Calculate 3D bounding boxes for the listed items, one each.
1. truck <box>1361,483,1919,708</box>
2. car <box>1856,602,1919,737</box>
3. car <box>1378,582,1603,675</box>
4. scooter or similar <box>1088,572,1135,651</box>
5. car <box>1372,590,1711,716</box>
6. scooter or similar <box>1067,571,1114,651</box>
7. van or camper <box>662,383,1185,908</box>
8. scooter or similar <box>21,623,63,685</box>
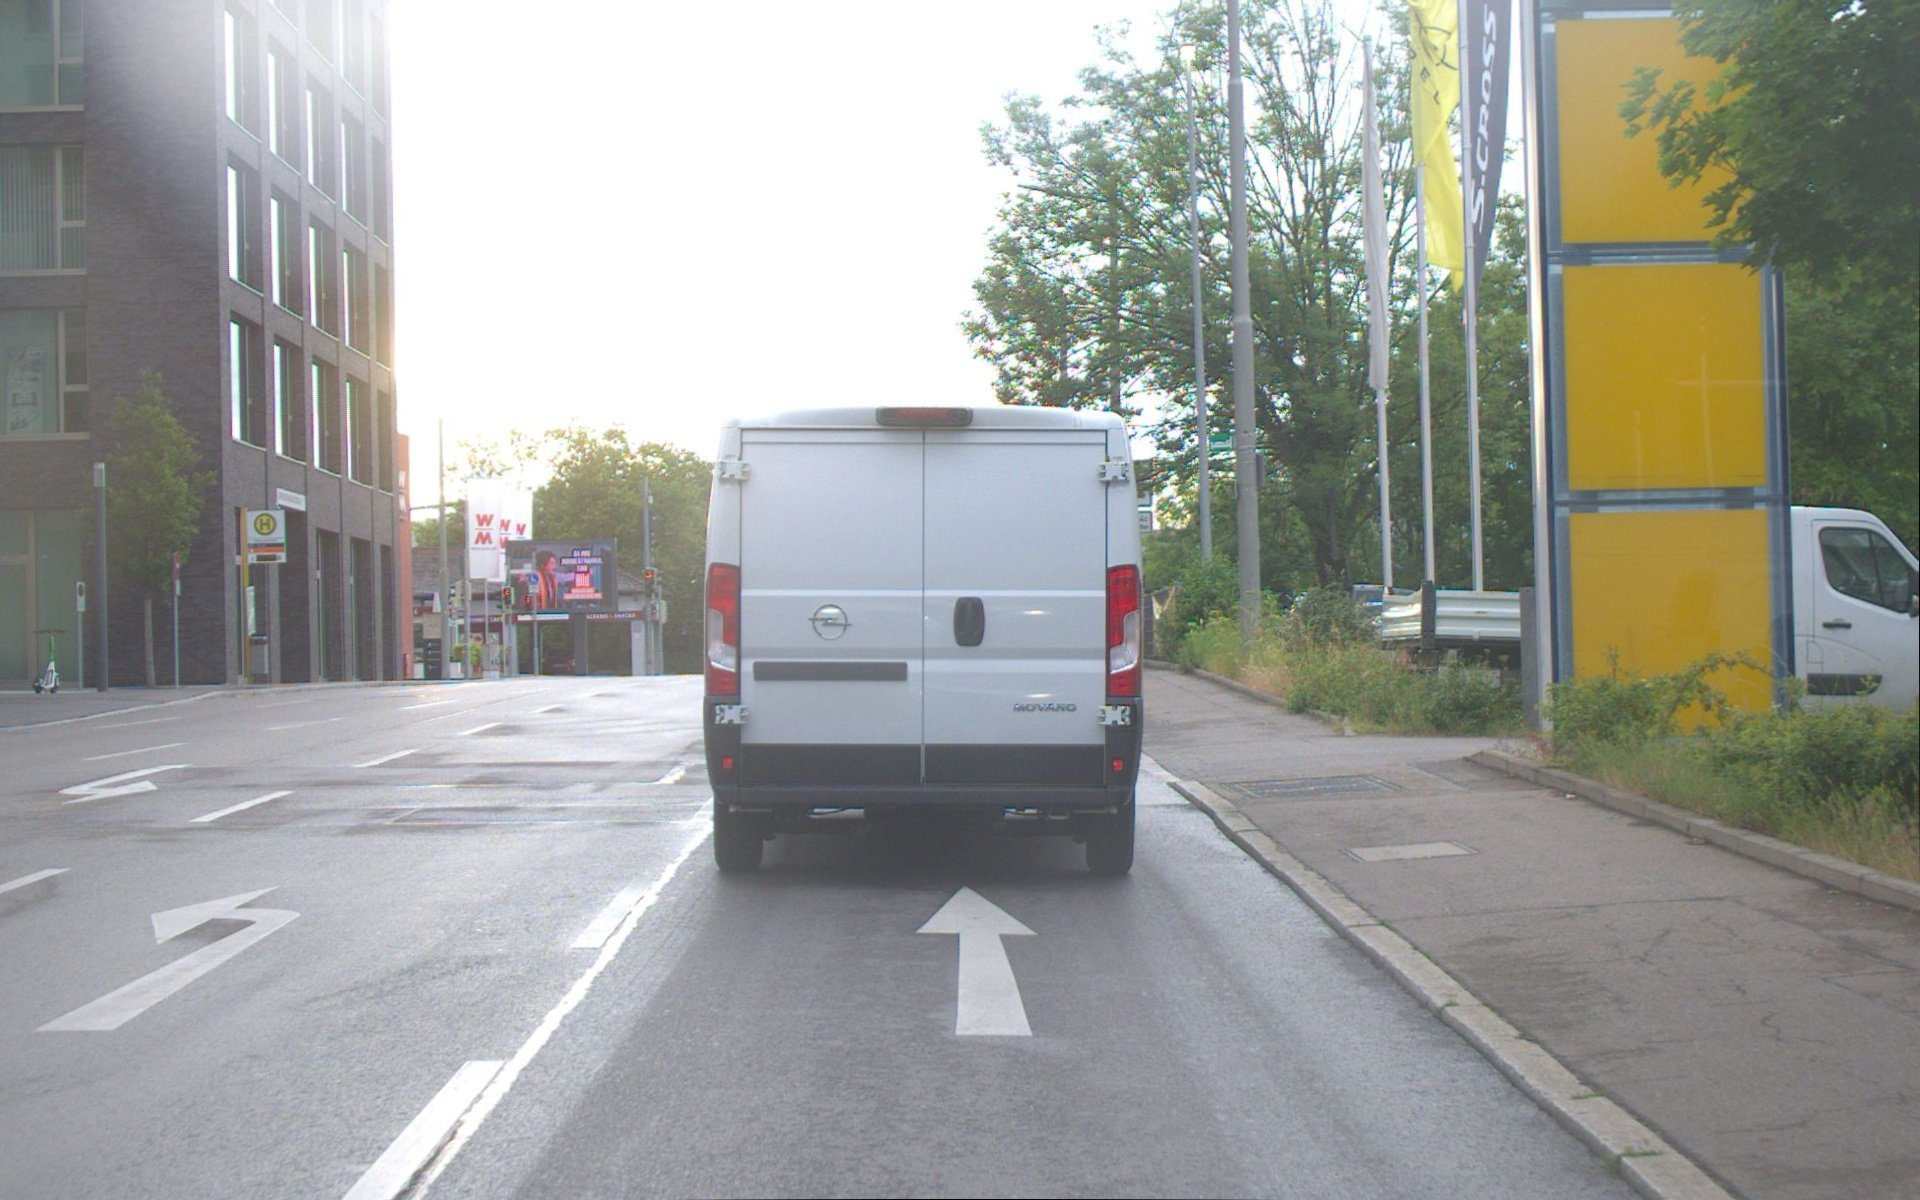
[{"bbox_3d":[6.481,-0.062,31.999,5.147,2.007,2.345,0,1,-2],"label":"truck"},{"bbox_3d":[11.723,0.735,37.116,3.690,1.413,1.630,0,0,2],"label":"car"},{"bbox_3d":[10.490,0.554,68.114,3.986,1.516,1.804,-4,1,-5],"label":"car"},{"bbox_3d":[3.011,0.219,68.516,0.434,1.559,1.273,0,1,-22],"label":"scooter or similar"},{"bbox_3d":[7.544,0.675,44.875,4.129,1.583,1.760,0,1,0],"label":"car"},{"bbox_3d":[2.594,0.210,68.339,0.434,1.582,1.273,0,1,-23],"label":"scooter or similar"},{"bbox_3d":[-0.156,0.169,17.987,2.340,2.349,5.199,0,1,0],"label":"van or camper"},{"bbox_3d":[-16.148,0.957,60.509,0.351,1.068,1.428,0,-1,0],"label":"scooter or similar"}]
